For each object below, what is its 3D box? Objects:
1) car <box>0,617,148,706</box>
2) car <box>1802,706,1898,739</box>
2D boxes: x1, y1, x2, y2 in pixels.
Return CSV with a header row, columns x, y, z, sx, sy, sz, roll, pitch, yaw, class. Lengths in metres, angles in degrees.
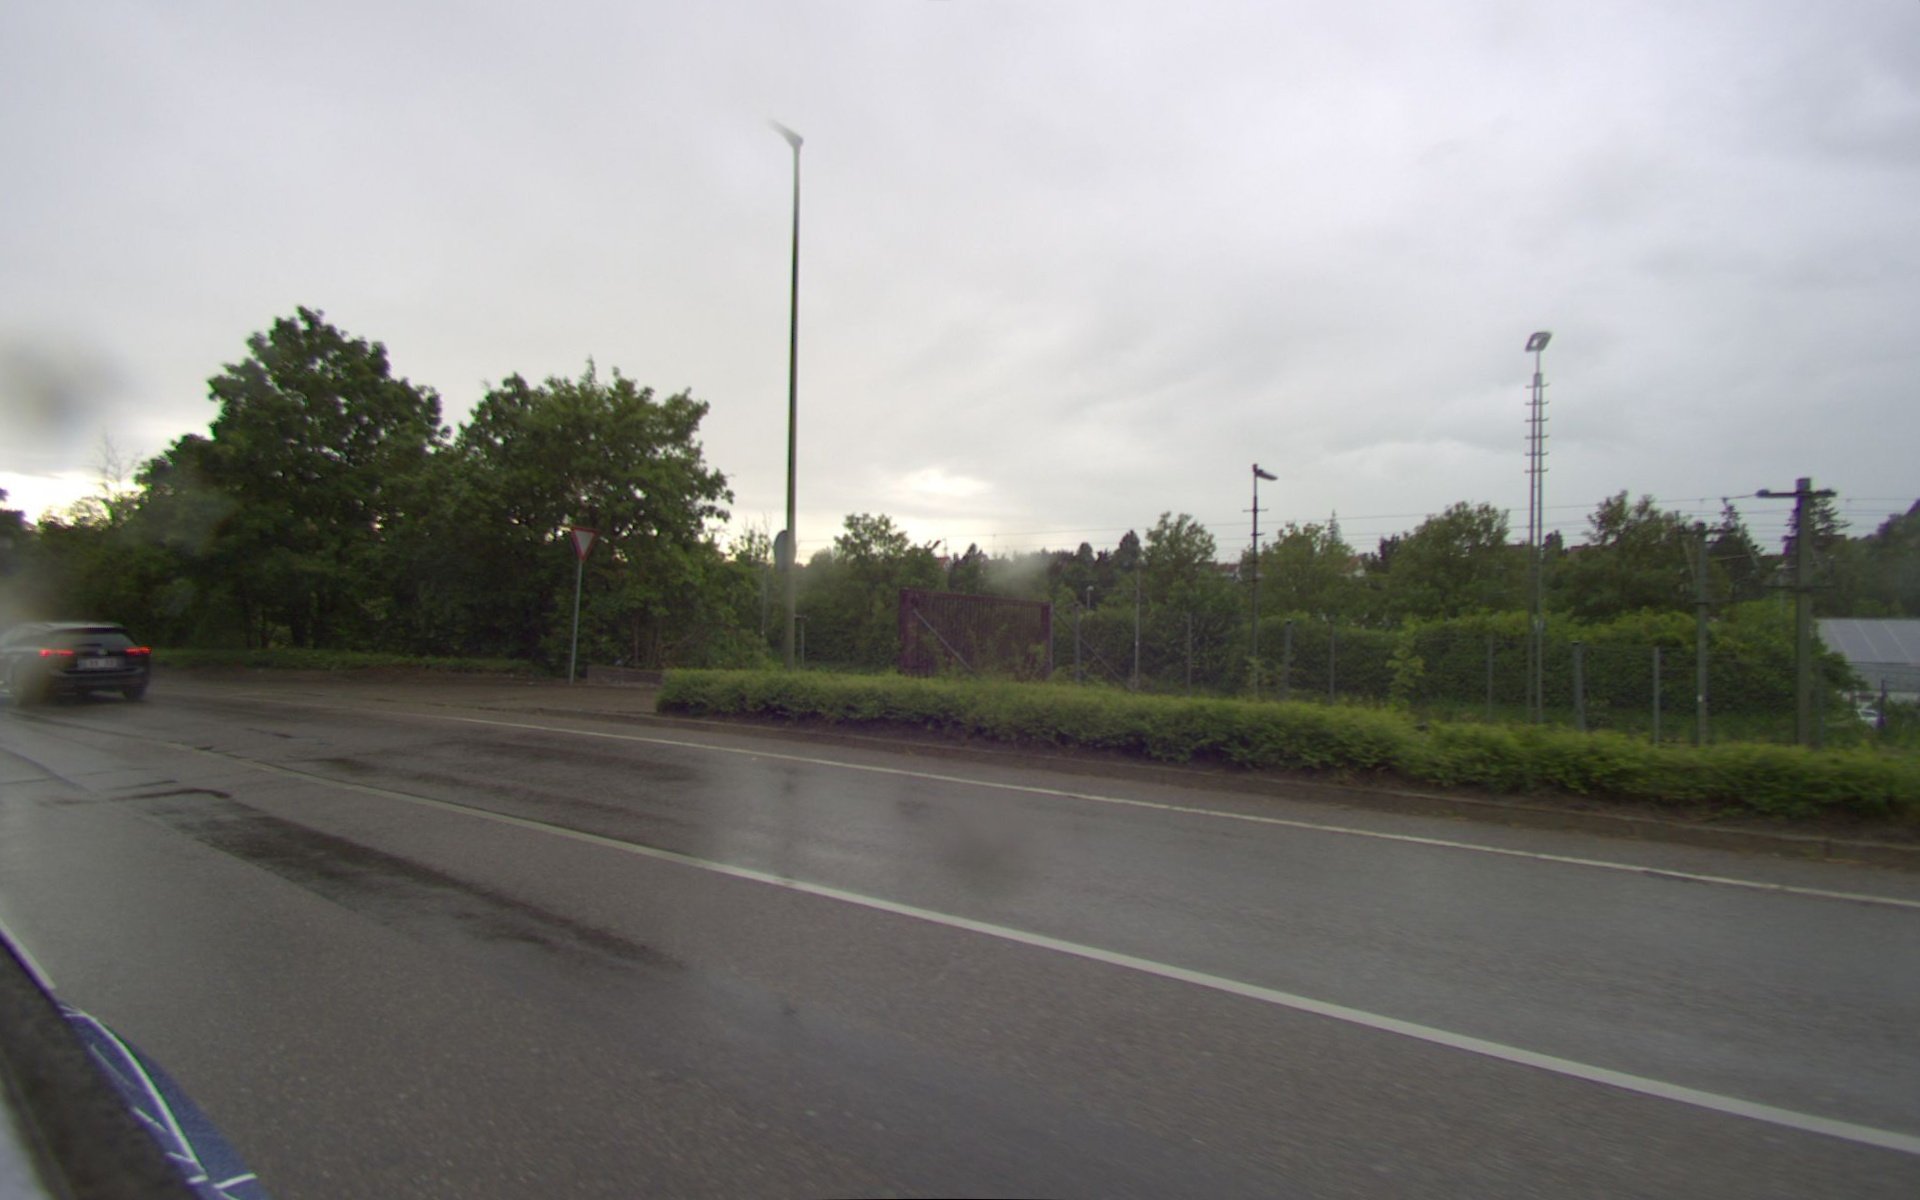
x,y,z,sx,sy,sz,roll,pitch,yaw,class
-17.112,1.076,18.978,4.532,1.473,1.709,-1,0,34,car
46.545,6.394,53.023,3.565,1.420,1.779,-1,-5,35,car
